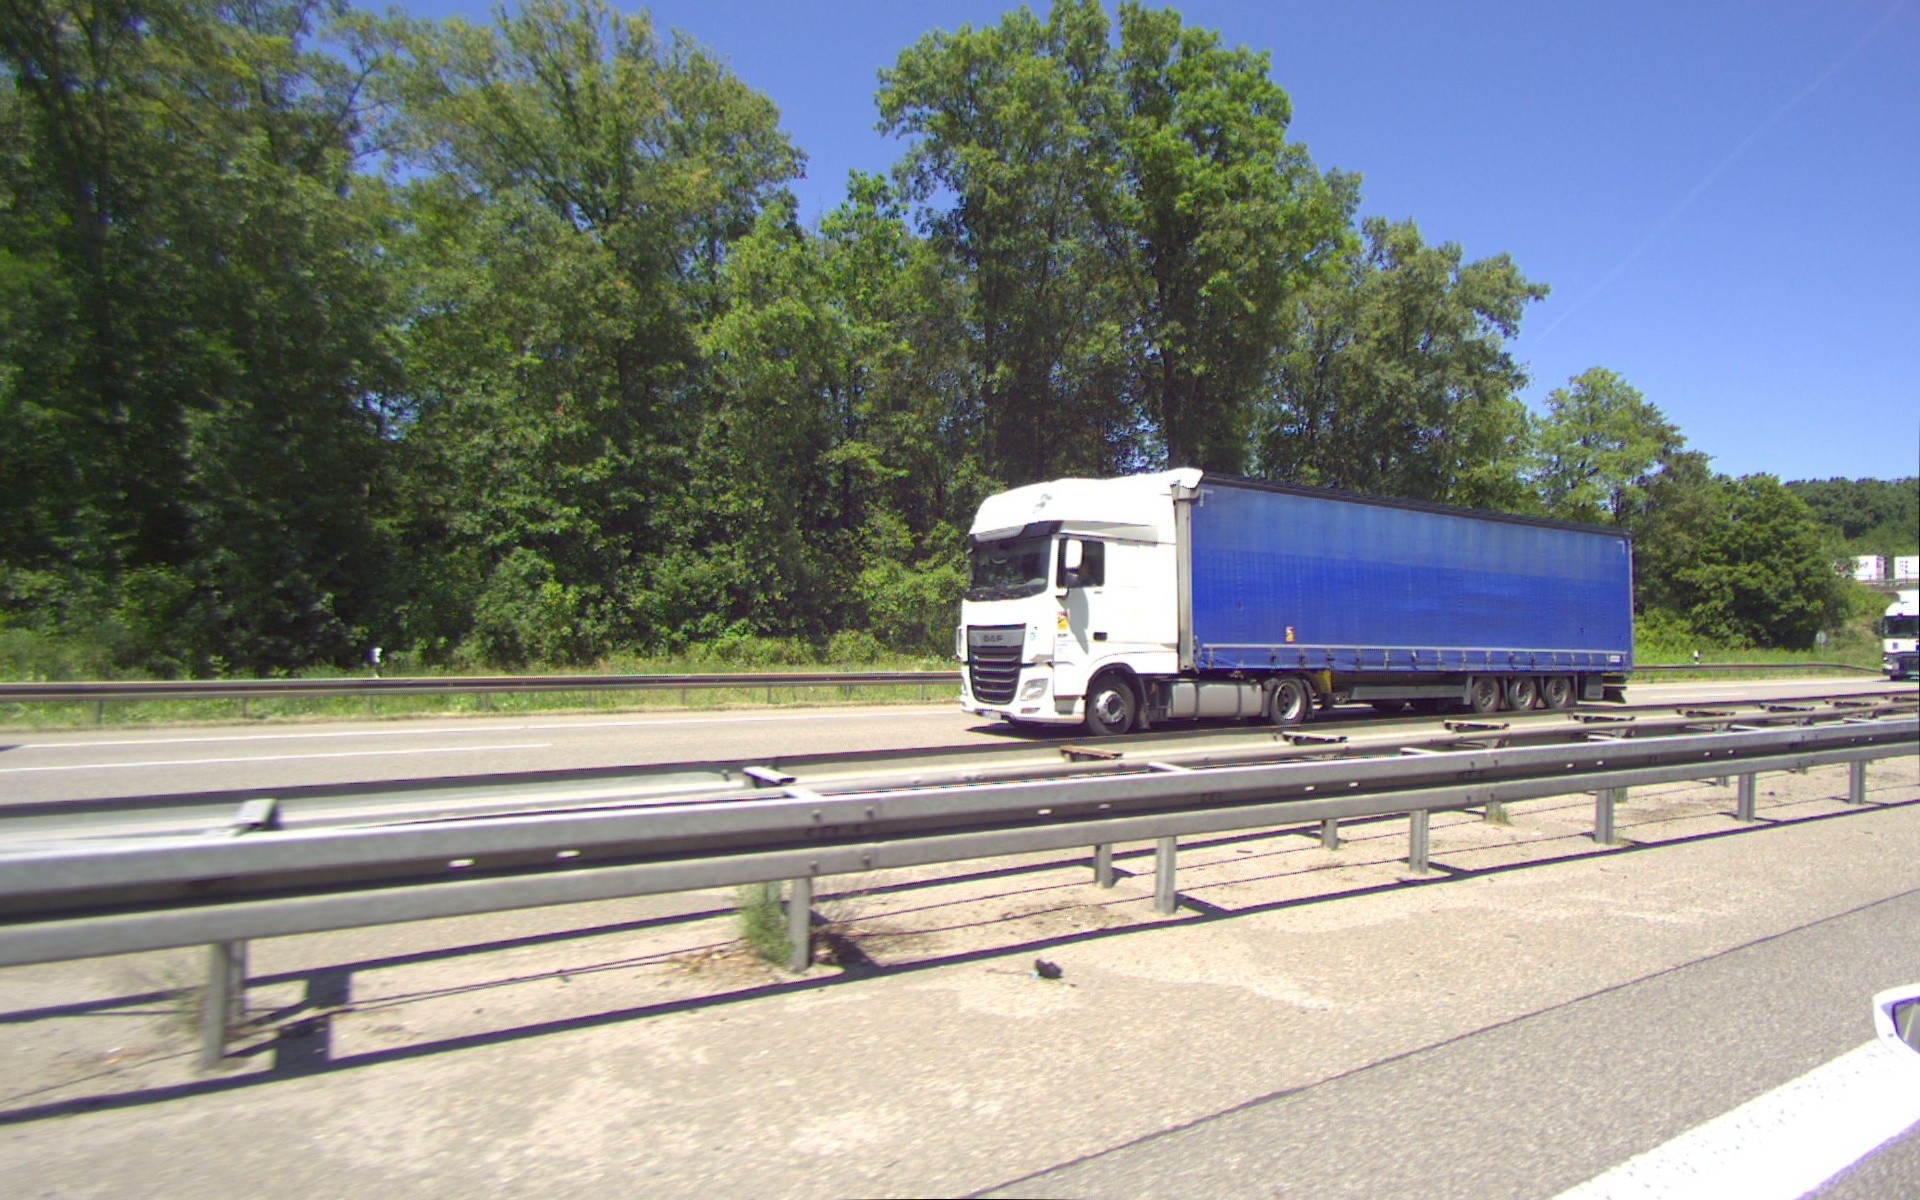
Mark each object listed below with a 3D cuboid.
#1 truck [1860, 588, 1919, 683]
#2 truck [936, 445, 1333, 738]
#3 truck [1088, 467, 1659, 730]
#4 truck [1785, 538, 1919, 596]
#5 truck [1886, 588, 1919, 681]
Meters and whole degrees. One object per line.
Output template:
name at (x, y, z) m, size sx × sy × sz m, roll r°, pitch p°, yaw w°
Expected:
truck at (44.380, 1.670, 45.879) m, size 6.383 × 4.114 × 2.956 m, roll 2°, pitch -4°, yaw -30°
truck at (2.967, -0.040, 16.789) m, size 5.971 × 4.072 × 2.972 m, roll 2°, pitch 0°, yaw -30°
truck at (9.018, 0.181, 20.383) m, size 13.775 × 4.072 × 2.972 m, roll 2°, pitch 0°, yaw -31°
truck at (93.858, -3.278, 101.118) m, size 3.145 × 5.639 × 16.342 m, roll 2°, pitch 0°, yaw -37°
truck at (50.419, 1.775, 49.640) m, size 13.803 × 4.306 × 3.051 m, roll 2°, pitch -4°, yaw -31°
